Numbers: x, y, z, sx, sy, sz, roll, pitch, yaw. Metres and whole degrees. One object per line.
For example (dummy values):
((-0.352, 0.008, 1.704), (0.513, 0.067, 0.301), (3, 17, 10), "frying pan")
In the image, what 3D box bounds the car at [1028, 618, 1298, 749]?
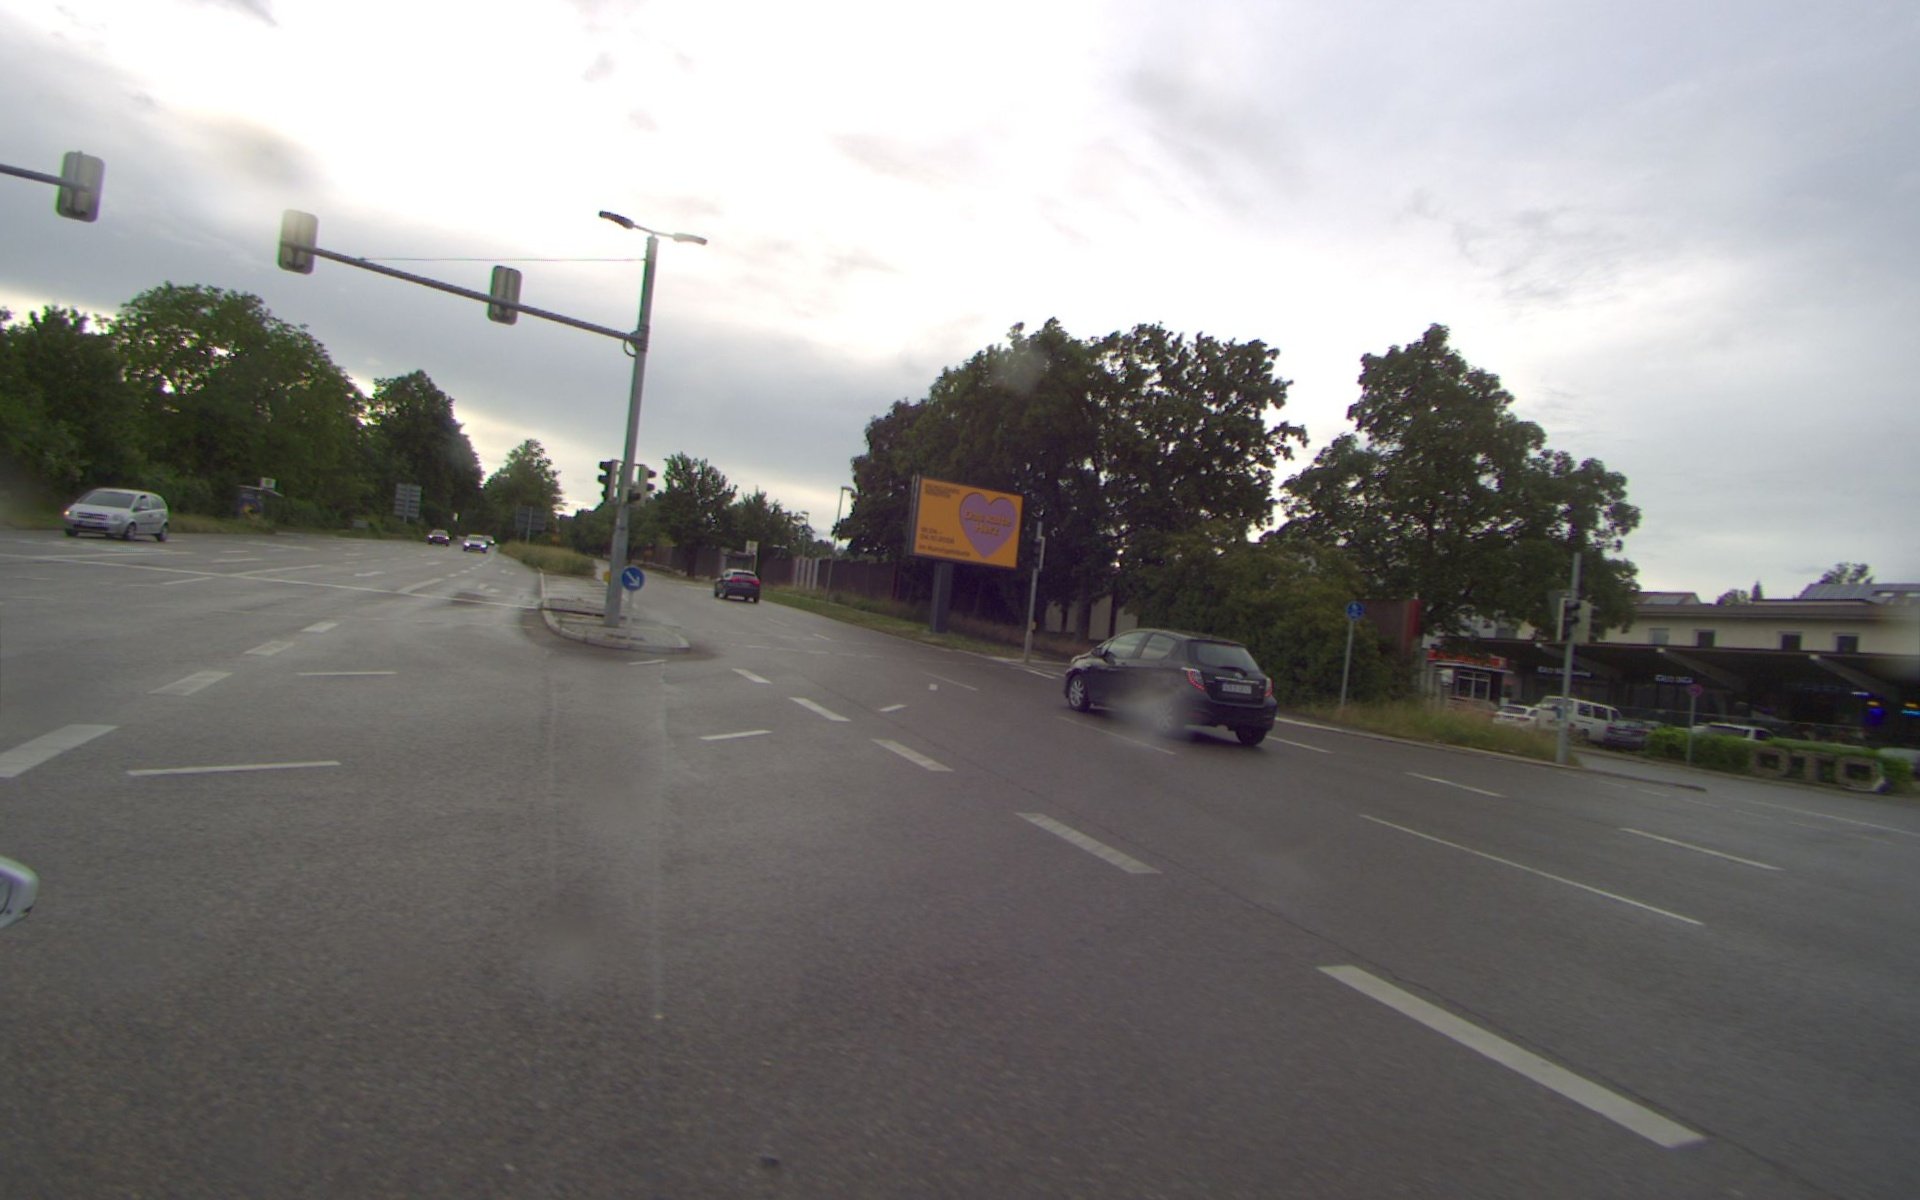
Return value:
((2.939, 1.191, 15.758), (1.727, 1.487, 4.618), (8, -2, -22), "car")

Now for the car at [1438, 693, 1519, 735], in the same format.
((25.034, 5.494, 48.505), (3.837, 1.583, 1.506), (8, 0, -30), "car")

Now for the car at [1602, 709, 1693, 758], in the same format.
((28.633, 5.567, 41.880), (3.837, 1.583, 1.506), (8, 0, -30), "car")

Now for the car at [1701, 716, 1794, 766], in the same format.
((31.944, 5.739, 40.796), (3.837, 1.583, 1.506), (8, 0, -30), "car")

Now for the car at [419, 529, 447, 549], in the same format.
((-51.207, -5.884, 97.776), (1.875, 1.615, 4.463), (7, 0, -23), "car")

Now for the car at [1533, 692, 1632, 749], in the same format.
((26.931, 5.233, 43.508), (3.837, 1.970, 1.842), (8, 0, -30), "car")

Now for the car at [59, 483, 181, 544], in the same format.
((-27.693, -2.783, 33.320), (1.751, 1.615, 4.463), (7, 0, -23), "car")

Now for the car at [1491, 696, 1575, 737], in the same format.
((26.165, 5.312, 45.935), (3.837, 1.415, 1.506), (8, 0, -30), "car")

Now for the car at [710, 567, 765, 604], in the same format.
((-10.916, -0.737, 49.135), (1.728, 1.488, 4.142), (7, 0, -23), "car")

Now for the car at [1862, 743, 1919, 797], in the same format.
((33.894, 6.091, 35.764), (3.837, 1.583, 1.506), (8, 0, -30), "car")

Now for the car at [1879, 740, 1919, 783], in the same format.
((42.407, 7.208, 44.232), (3.840, 1.583, 1.900), (8, 0, -32), "car")

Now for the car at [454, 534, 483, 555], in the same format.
((-42.260, -4.778, 86.556), (1.875, 1.553, 4.463), (7, 0, -23), "car")

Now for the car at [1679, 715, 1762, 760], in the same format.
((34.360, 6.206, 45.442), (3.837, 1.583, 1.506), (8, 0, -30), "car")
